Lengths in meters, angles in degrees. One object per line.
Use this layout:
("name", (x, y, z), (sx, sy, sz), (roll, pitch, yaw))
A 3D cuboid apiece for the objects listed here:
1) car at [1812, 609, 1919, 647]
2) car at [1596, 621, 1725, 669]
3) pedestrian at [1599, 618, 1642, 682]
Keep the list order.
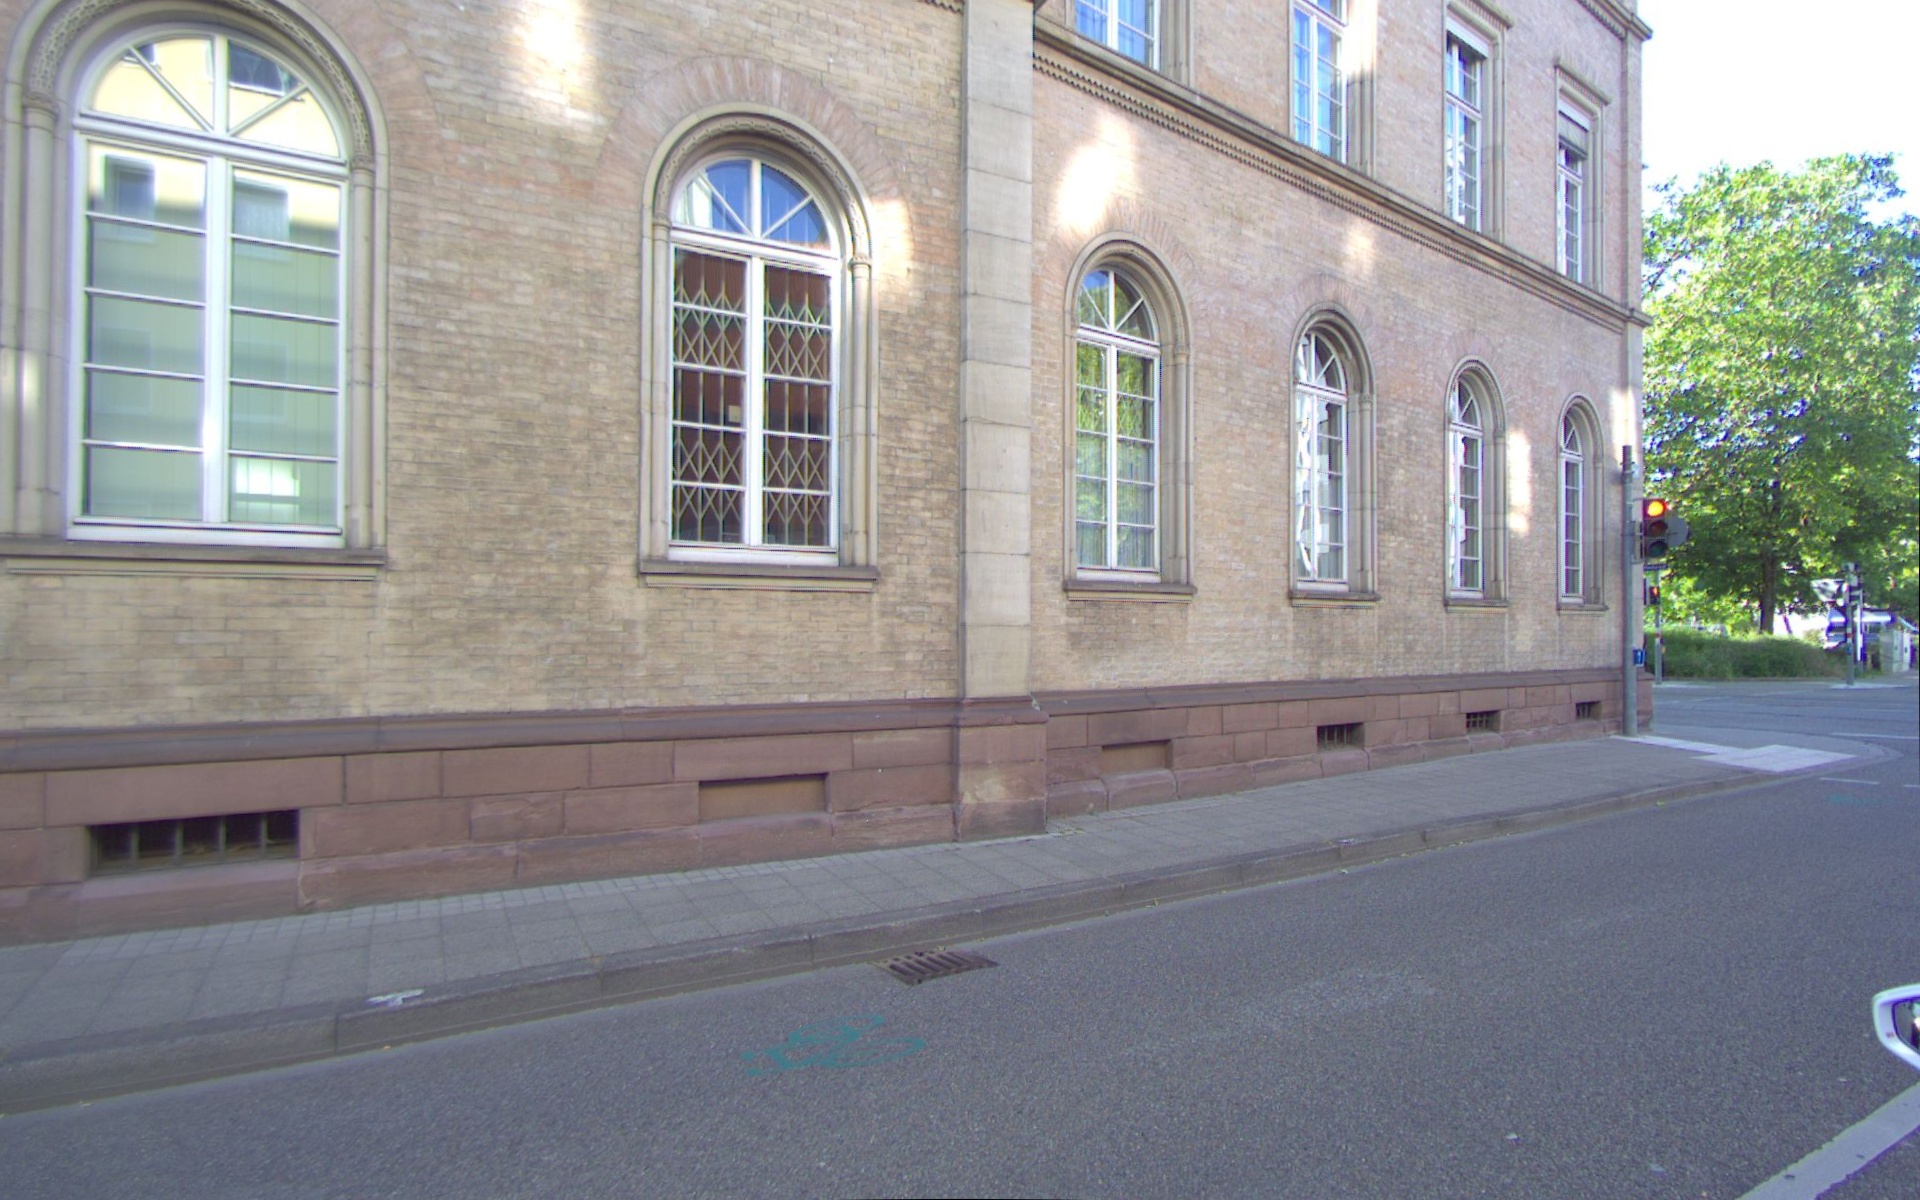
("car", (53.494, 1.616, 59.383), (1.983, 2.040, 4.409), (2, 0, -38))
("car", (24.372, 1.528, 35.023), (1.636, 1.476, 3.382), (2, 0, -39))
("pedestrian", (20.265, 1.516, 30.840), (0.899, 1.893, 0.742), (2, 0, 21))
